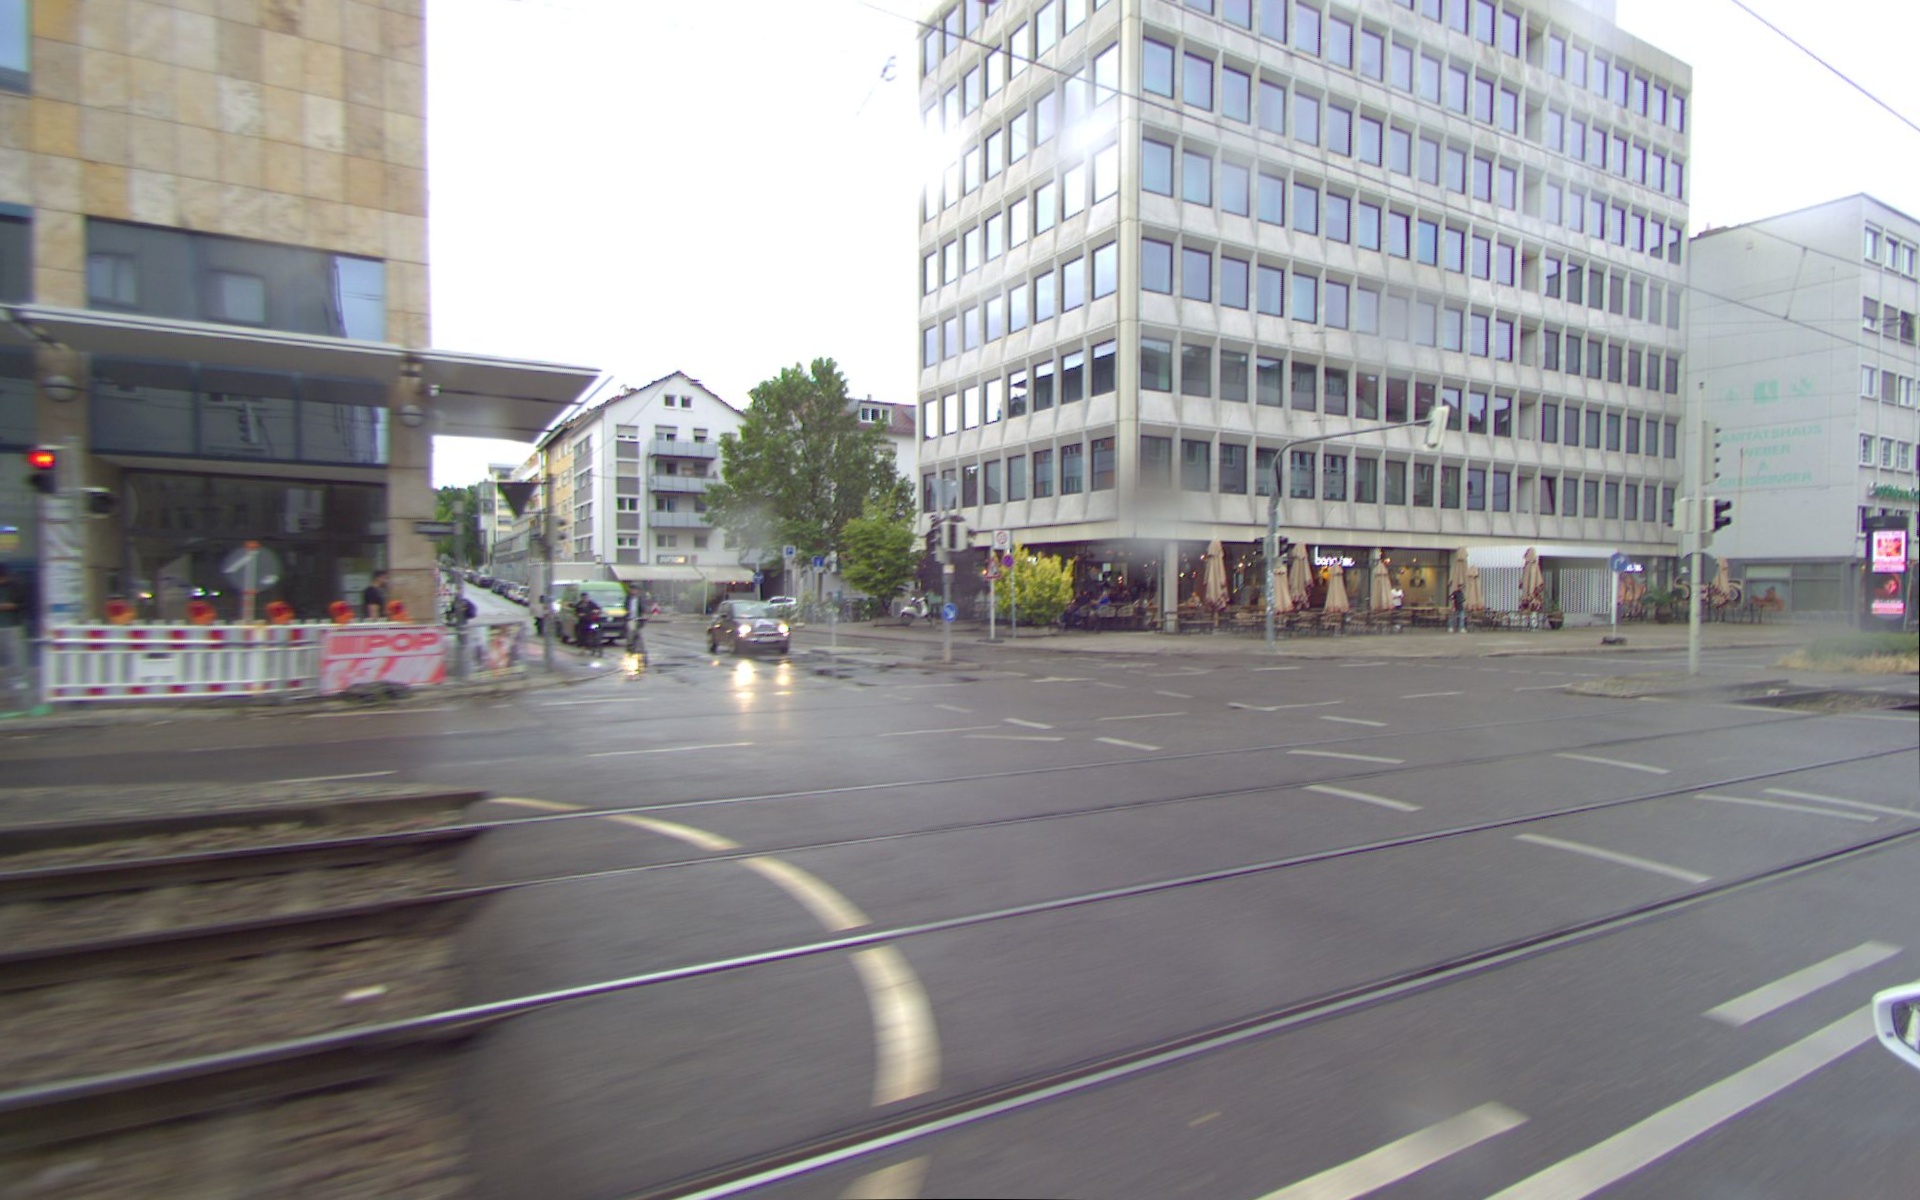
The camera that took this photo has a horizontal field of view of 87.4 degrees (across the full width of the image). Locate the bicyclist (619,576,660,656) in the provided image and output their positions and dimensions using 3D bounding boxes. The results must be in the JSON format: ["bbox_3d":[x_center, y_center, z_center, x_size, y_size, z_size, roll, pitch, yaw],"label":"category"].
[{"bbox_3d":[-7.425,0.354,23.252,0.774,1.829,0.705,-1,2,-30],"label":"bicyclist"}]

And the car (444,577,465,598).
[{"bbox_3d":[-50.497,-1.290,100.358,1.637,2.041,3.456,-1,2,-30],"label":"car"}]

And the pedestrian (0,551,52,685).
[{"bbox_3d":[-13.314,0.248,14.083,0.670,1.839,0.698,-1,2,-27],"label":"pedestrian"}]

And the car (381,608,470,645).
[{"bbox_3d":[-29.383,1.444,55.340,3.930,1.952,1.995,0,1,-12],"label":"car"}]

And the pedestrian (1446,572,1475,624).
[{"bbox_3d":[18.094,-0.076,36.312,0.836,1.847,0.561,-1,2,-34],"label":"pedestrian"}]

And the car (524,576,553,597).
[{"bbox_3d":[-36.923,-1.184,87.942,1.761,1.758,4.130,-1,2,-30],"label":"car"}]

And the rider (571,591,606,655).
[{"bbox_3d":[-10.128,0.603,27.404,0.774,1.698,0.705,-1,2,-30],"label":"rider"}]

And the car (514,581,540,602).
[{"bbox_3d":[-40.294,-0.803,93.469,1.761,1.895,3.990,-1,2,-31],"label":"car"}]

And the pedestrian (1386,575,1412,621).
[{"bbox_3d":[16.982,-0.088,38.862,0.836,1.772,0.561,-1,2,-34],"label":"pedestrian"}]

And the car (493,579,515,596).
[{"bbox_3d":[-50.379,-1.385,110.991,1.761,1.895,3.990,-1,2,-31],"label":"car"}]

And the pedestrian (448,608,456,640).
[{"bbox_3d":[-27.209,1.292,53.788,0.304,1.667,0.308,-1,2,-31],"label":"pedestrian"}]

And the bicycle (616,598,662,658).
[{"bbox_3d":[-7.428,0.626,23.192,0.652,1.328,1.755,0,0,-30],"label":"bicycle"}]

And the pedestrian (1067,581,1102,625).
[{"bbox_3d":[4.547,0.091,36.674,0.886,1.553,0.957,-1,2,-30],"label":"pedestrian"}]

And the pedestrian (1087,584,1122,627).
[{"bbox_3d":[5.341,0.188,37.193,0.954,1.553,0.889,-1,2,-31],"label":"pedestrian"}]

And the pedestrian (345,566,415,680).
[{"bbox_3d":[-9.405,0.361,16.309,0.689,1.805,0.679,0,1,5],"label":"pedestrian"}]

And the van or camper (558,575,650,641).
[{"bbox_3d":[-12.309,0.214,34.534,2.072,2.090,5.057,-1,1,-30],"label":"van or camper"}]

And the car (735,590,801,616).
[{"bbox_3d":[-14.360,0.202,75.236,4.557,1.871,2.093,0,0,-23],"label":"car"}]

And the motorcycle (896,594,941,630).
[{"bbox_3d":[-2.023,0.579,48.944,2.051,1.741,0.875,-1,0,-25],"label":"motorcycle"}]

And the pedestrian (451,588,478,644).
[{"bbox_3d":[-14.990,0.484,30.371,0.695,1.658,0.576,-1,2,-29],"label":"pedestrian"}]

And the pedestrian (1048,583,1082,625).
[{"bbox_3d":[3.965,0.140,37.849,0.886,1.553,0.956,-1,2,-31],"label":"pedestrian"}]

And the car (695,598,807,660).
[{"bbox_3d":[-6.036,0.765,28.684,1.870,1.550,3.965,-1,1,-32],"label":"car"}]

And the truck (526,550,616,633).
[{"bbox_3d":[-16.596,-0.405,42.576,2.433,3.206,7.112,-1,1,-31],"label":"truck"}]
